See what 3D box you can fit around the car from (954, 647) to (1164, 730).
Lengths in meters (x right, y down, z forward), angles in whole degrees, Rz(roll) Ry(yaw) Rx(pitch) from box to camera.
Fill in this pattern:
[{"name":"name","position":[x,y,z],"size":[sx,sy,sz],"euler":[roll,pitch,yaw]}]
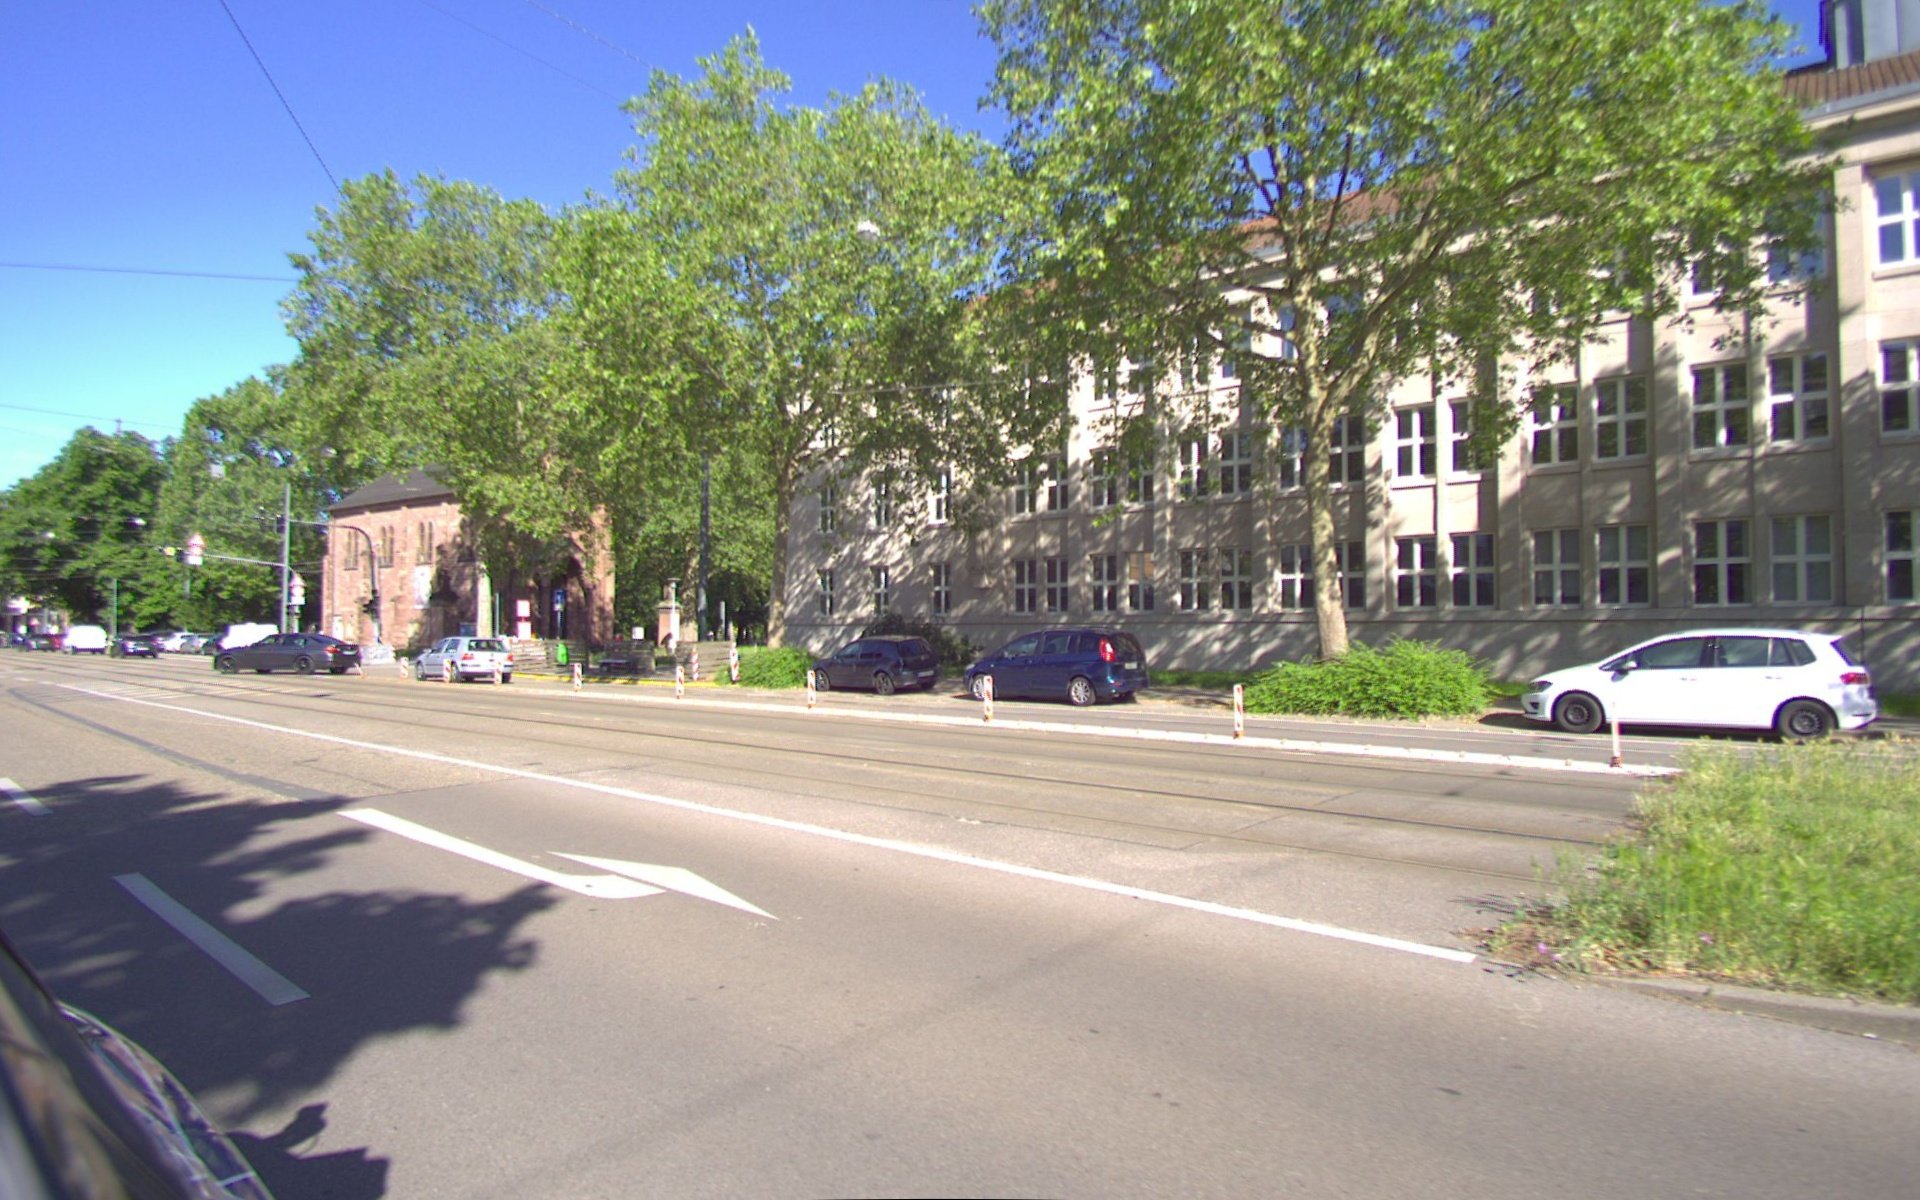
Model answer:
[{"name":"car","position":[2.123,1.889,22.493],"size":[4.390,1.652,1.812],"euler":[-2,-4,39]}]

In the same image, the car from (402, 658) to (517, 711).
[{"name":"car","position":[-15.689,2.592,31.637],"size":[4.170,1.464,1.810],"euler":[-2,-3,42]}]

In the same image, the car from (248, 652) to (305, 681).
[{"name":"car","position":[-39.913,3.852,59.078],"size":[3.857,1.563,1.772],"euler":[-2,-2,40]}]

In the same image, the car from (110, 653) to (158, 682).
[{"name":"car","position":[-48.462,3.932,59.379],"size":[4.088,1.422,1.598],"euler":[-1,1,43]}]

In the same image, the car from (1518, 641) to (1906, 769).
[{"name":"car","position":[10.937,1.433,15.049],"size":[4.390,1.600,1.812],"euler":[-1,-3,39]}]

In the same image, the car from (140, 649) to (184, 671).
[{"name":"car","position":[-59.795,4.481,75.786],"size":[4.304,1.563,1.772],"euler":[-2,-2,41]}]

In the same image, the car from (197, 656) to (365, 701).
[{"name":"car","position":[-23.981,2.751,35.798],"size":[4.900,1.464,1.832],"euler":[0,-2,6]}]

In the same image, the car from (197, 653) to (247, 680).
[{"name":"car","position":[-47.993,4.302,65.761],"size":[3.857,1.563,1.772],"euler":[-2,-2,40]}]

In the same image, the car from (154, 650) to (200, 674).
[{"name":"car","position":[-56.015,4.387,72.396],"size":[4.304,1.563,1.772],"euler":[-2,-2,41]}]

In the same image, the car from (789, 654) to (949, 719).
[{"name":"car","position":[-2.430,2.193,26.380],"size":[4.184,1.559,1.655],"euler":[-2,-4,39]}]

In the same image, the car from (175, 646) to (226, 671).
[{"name":"car","position":[-51.863,3.954,69.090],"size":[4.302,1.563,1.773],"euler":[-1,-2,39]}]

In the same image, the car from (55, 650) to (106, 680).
[{"name":"car","position":[-59.954,4.426,68.994],"size":[4.516,1.906,2.039],"euler":[-2,-4,42]}]

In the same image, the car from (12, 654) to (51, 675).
[{"name":"car","position":[-72.609,5.020,79.118],"size":[4.373,1.440,1.774],"euler":[-2,-2,41]}]

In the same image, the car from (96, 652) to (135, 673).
[{"name":"car","position":[-69.015,5.083,82.728],"size":[4.304,1.563,1.772],"euler":[-2,-2,41]}]

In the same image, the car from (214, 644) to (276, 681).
[{"name":"car","position":[-43.830,3.800,62.014],"size":[4.588,2.113,1.897],"euler":[-1,-2,39]}]
